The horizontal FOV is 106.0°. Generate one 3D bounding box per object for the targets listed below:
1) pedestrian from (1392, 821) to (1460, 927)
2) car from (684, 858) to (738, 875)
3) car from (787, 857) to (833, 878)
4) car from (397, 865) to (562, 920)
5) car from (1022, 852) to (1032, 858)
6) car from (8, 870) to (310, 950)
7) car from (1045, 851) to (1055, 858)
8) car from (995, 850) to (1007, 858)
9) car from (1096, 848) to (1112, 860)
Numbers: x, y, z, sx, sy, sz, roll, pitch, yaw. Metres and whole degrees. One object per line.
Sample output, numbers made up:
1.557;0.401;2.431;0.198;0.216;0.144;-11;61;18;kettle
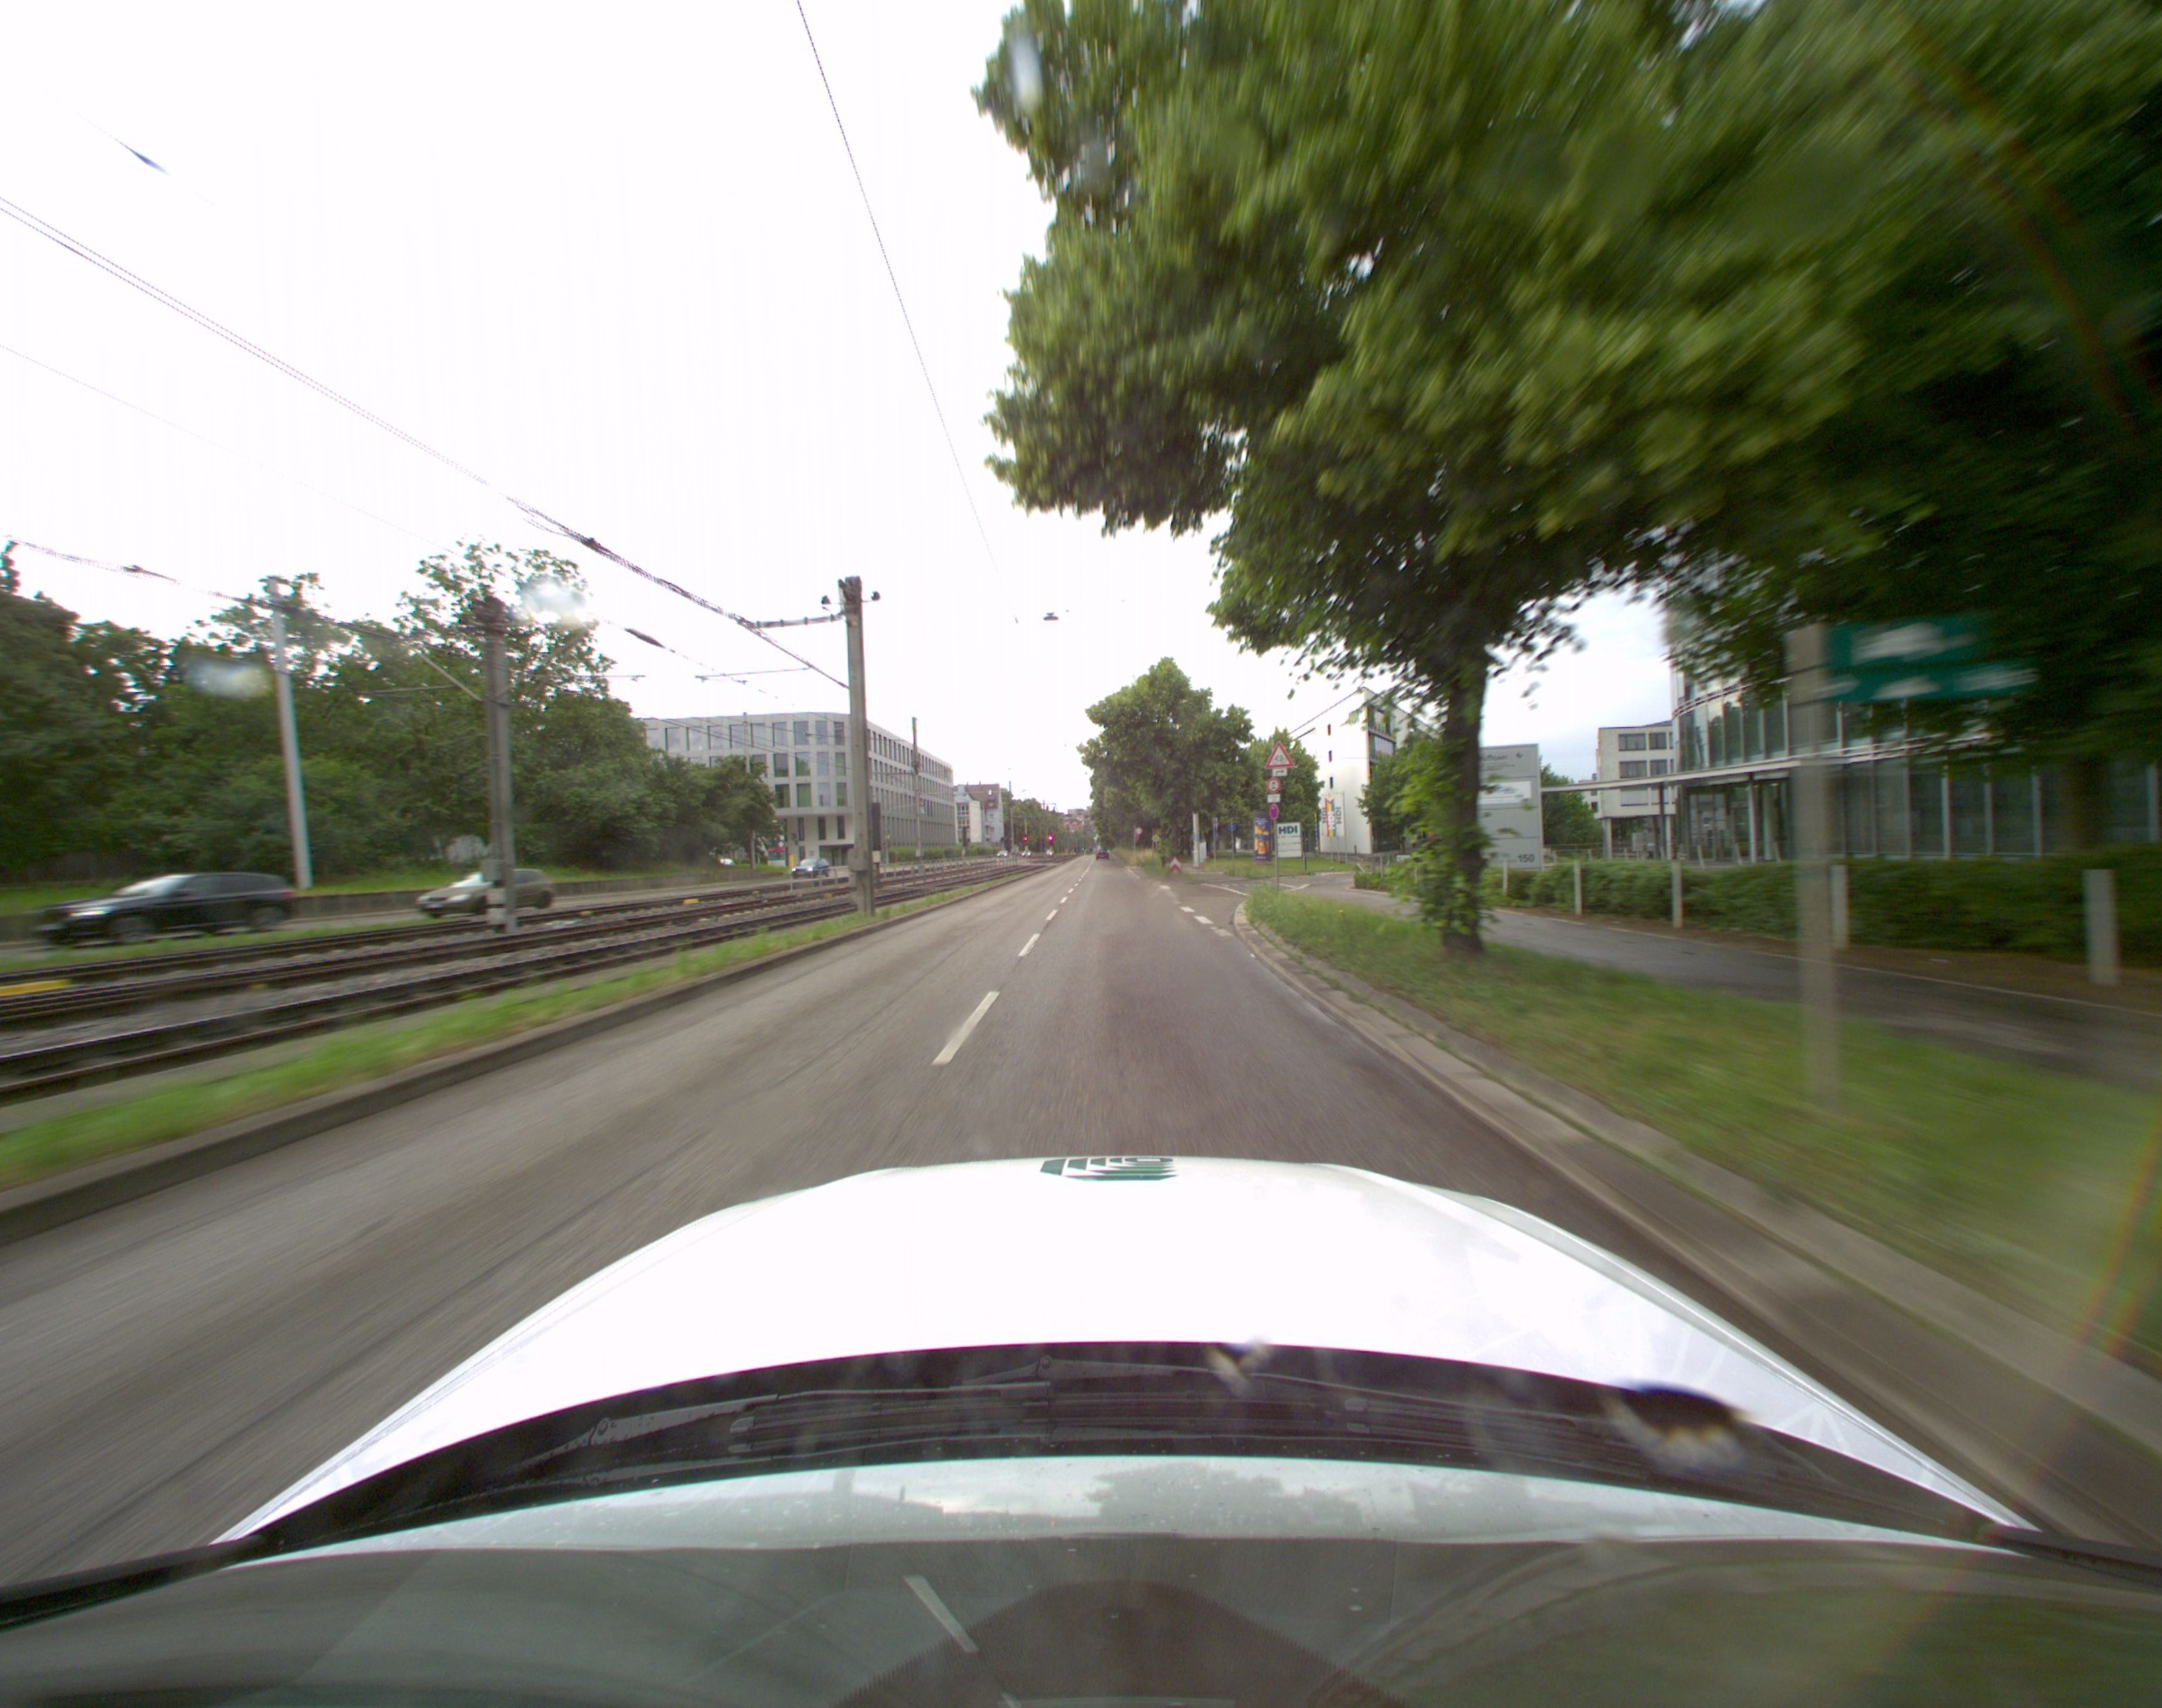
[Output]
6.099;0.347;14.427;0.822;1.797;0.868;-1;0;2;pedestrian
-33.117;1.117;72.866;3.907;1.453;1.925;1;0;-1;car
-20.036;0.982;60.366;1.753;1.397;3.905;-2;0;4;car
-19.373;1.190;26.505;1.882;1.486;4.314;-2;0;4;car
-12.427;0.206;187.176;1.791;1.347;4.261;-2;0;2;car
-22.949;1.306;20.662;1.940;1.595;4.851;-2;0;3;car
-7.887;0.177;208.373;1.894;1.644;4.888;-2;0;3;car
-15.033;-0.012;152.761;1.750;1.244;3.990;-2;0;2;car
3.005;0.011;104.481;1.975;1.440;4.476;-2;0;2;car
